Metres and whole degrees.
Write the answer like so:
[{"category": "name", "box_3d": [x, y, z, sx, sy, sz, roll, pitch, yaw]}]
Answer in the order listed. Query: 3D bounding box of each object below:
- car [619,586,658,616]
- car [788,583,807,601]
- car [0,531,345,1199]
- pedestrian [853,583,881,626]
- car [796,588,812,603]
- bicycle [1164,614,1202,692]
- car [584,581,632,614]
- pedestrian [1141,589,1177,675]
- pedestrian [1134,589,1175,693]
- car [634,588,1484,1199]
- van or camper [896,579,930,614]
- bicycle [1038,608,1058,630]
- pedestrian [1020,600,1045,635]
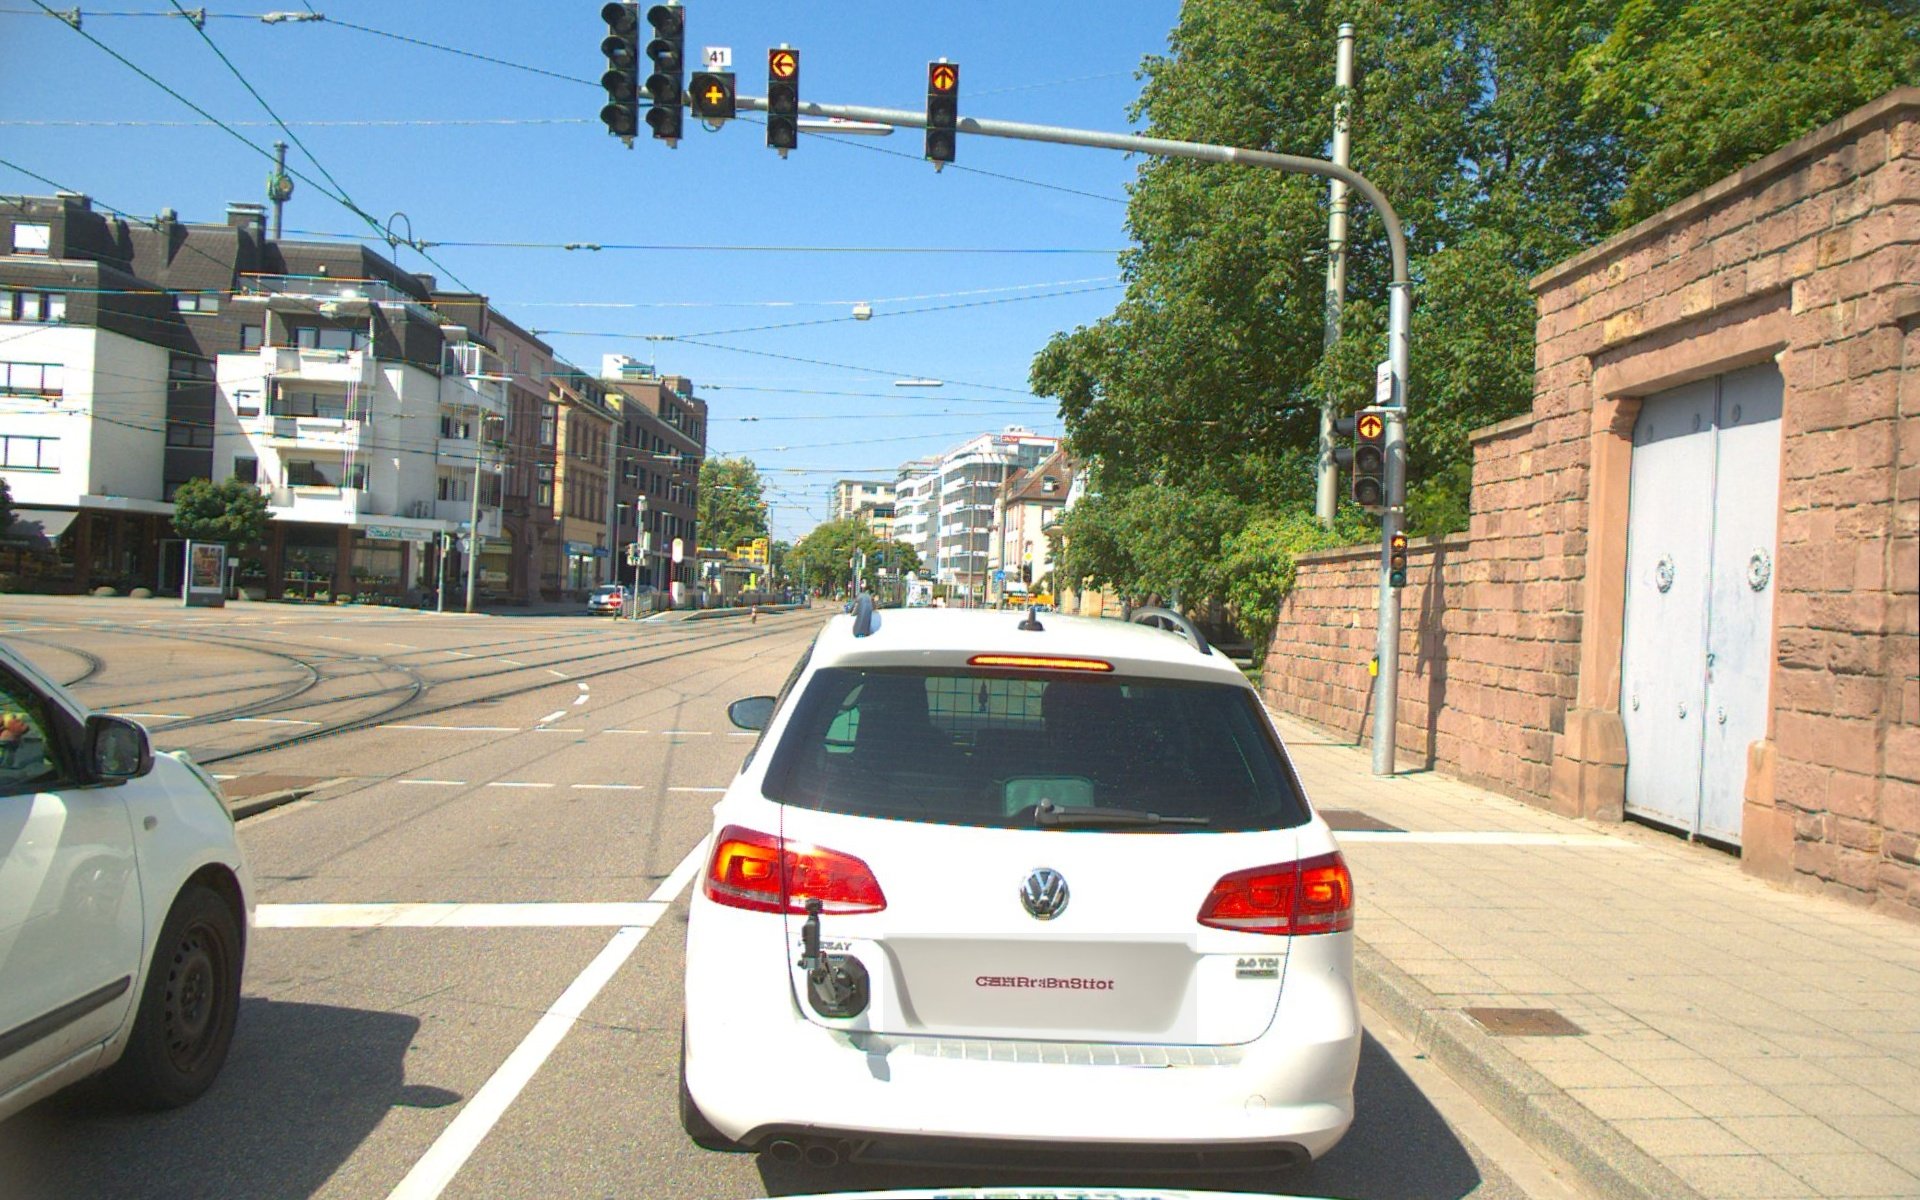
[{"category": "car", "box_3d": [-17.069, 0.032, 87.852, 1.542, 1.484, 3.811, 2, 0, -4]}, {"category": "car", "box_3d": [-19.276, -0.921, 196.021, 1.954, 2.049, 3.998, 1, 0, -3]}, {"category": "car", "box_3d": [-2.891, 0.633, 3.433, 1.730, 1.588, 4.066, 1, 0, -1]}, {"category": "pedestrian", "box_3d": [-4.019, 0.188, 71.845, 0.818, 1.841, 0.825, 2, 0, 40]}, {"category": "car", "box_3d": [-21.901, -0.651, 232.489, 1.954, 2.049, 3.998, 1, 0, -3]}, {"category": "bicycle", "box_3d": [3.418, 0.796, 25.246, 0.524, 1.131, 1.808, 1, -1, 8]}, {"category": "car", "box_3d": [-17.028, -0.119, 80.111, 1.593, 1.456, 3.961, 4, 0, -3]}, {"category": "pedestrian", "box_3d": [4.044, 0.646, 33.639, 0.636, 1.711, 0.708, 2, 0, 5]}, {"category": "pedestrian", "box_3d": [2.965, 0.621, 25.286, 0.529, 1.576, 0.663, 0, 0, -2]}, {"category": "car", "box_3d": [0.182, 0.727, 5.350, 1.717, 1.442, 3.852, 2, 0, -1]}, {"category": "van or camper", "box_3d": [-4.642, -0.332, 162.271, 2.886, 3.235, 6.608, 2, 0, -4]}, {"category": "bicycle", "box_3d": [4.807, 1.008, 90.383, 0.710, 1.159, 2.196, 2, 0, 11]}, {"category": "pedestrian", "box_3d": [3.263, 0.791, 74.532, 0.840, 1.536, 0.780, 2, 0, 32]}]
